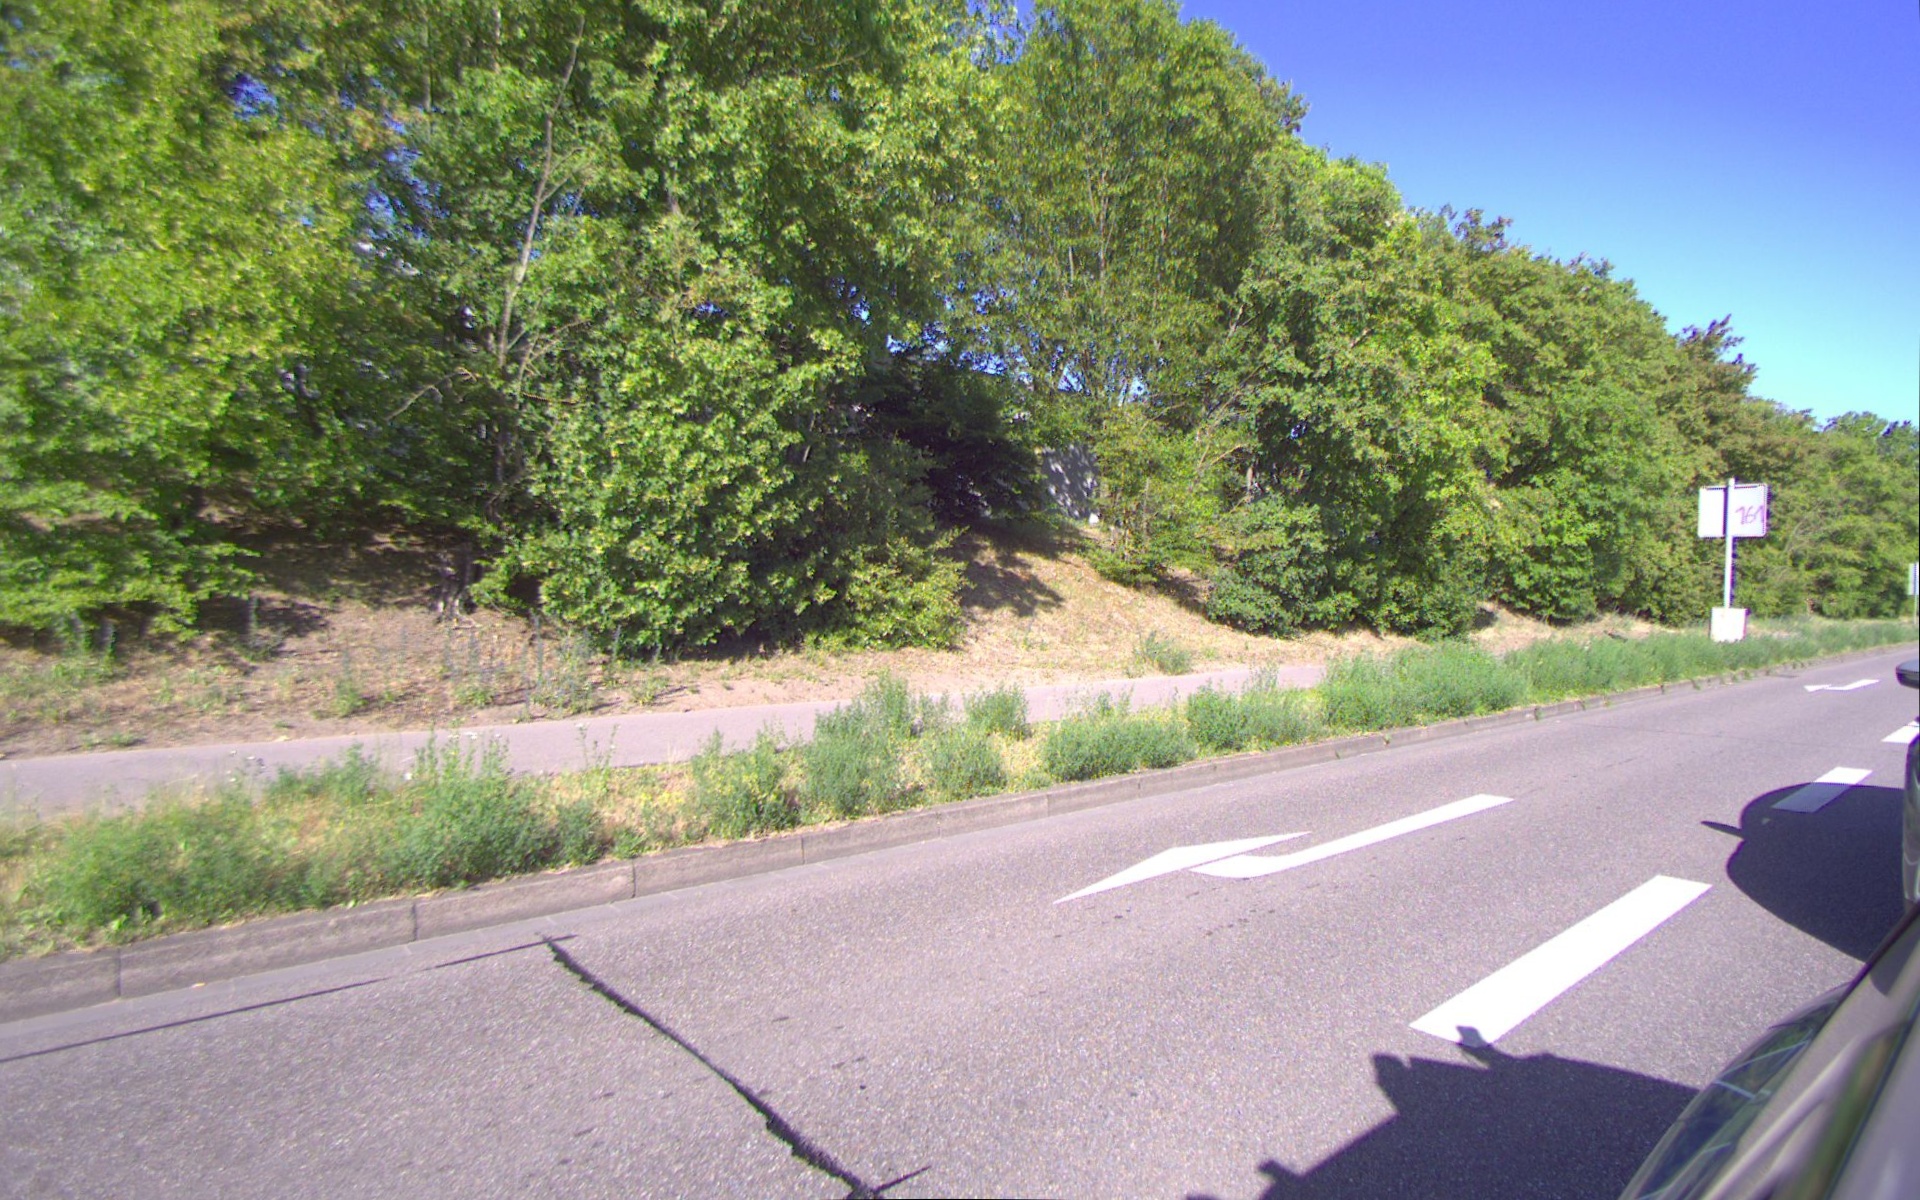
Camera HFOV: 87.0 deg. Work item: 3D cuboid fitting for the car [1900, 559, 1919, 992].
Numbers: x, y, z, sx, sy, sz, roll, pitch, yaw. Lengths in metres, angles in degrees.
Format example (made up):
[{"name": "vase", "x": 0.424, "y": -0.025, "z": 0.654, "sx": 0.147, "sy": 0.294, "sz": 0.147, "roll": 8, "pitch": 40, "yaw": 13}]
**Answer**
[{"name": "car", "x": 5.745, "y": 0.653, "z": 4.541, "sx": 4.327, "sy": 1.603, "sz": 1.860, "roll": 0, "pitch": 0, "yaw": -42}]
